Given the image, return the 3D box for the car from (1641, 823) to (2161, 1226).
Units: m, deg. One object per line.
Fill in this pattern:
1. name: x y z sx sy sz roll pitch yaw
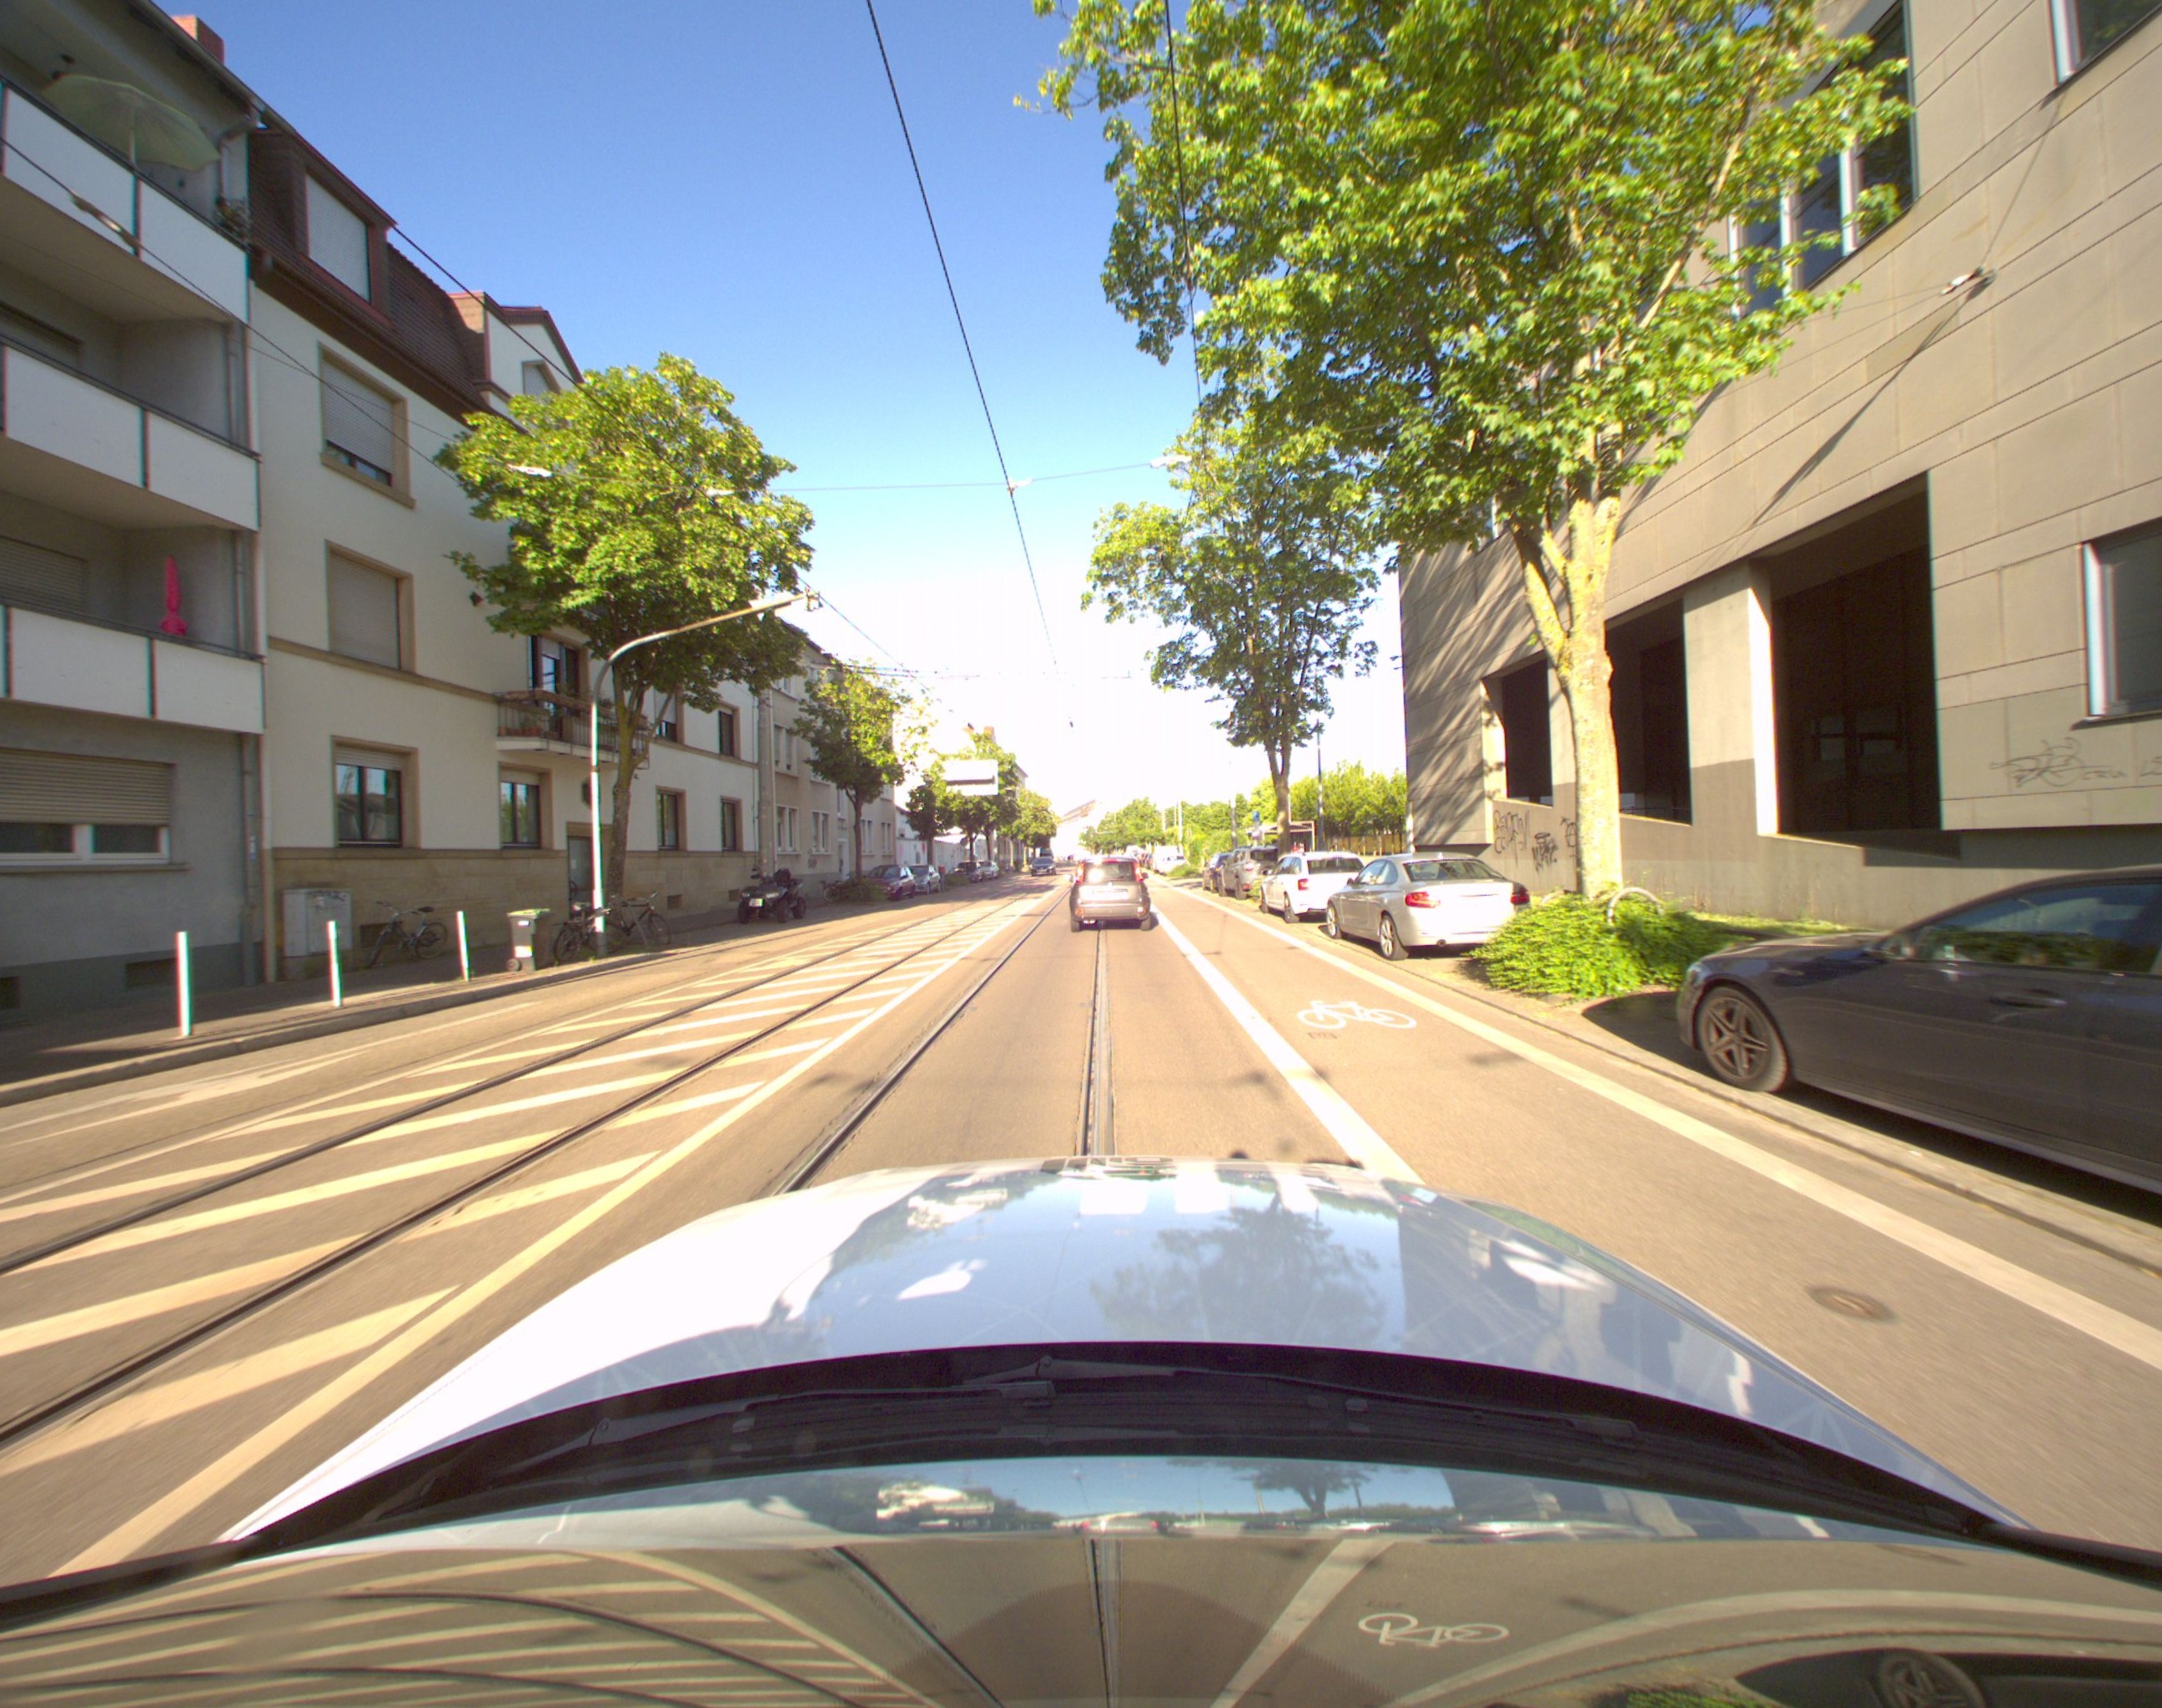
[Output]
1. car: 4.969 0.619 3.538 1.833 1.490 4.642 -3 0 0

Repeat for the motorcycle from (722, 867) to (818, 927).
1. motorcycle: -8.808 1.174 23.289 1.453 1.481 3.102 -3 0 0

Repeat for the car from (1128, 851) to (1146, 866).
1. car: 6.211 0.511 90.105 1.690 1.499 4.000 -3 0 0

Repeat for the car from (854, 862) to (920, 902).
1. car: -8.219 1.133 34.849 1.792 1.486 3.999 -3 0 0

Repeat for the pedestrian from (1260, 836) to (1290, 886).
1. pedestrian: 8.088 0.298 33.996 0.964 2.013 1.026 -3 0 2

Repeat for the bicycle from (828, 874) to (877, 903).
1. bicycle: -8.675 1.312 30.883 1.749 1.023 0.605 -1 -1 -19

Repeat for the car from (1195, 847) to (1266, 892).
1. car: 5.573 0.543 30.822 1.836 1.483 4.187 -3 0 0

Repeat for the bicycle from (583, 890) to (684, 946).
1. bicycle: -8.892 1.259 16.236 1.711 1.033 0.441 -1 -1 -20

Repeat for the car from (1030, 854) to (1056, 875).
1. car: -2.890 0.792 62.657 1.775 1.492 4.187 -2 0 0

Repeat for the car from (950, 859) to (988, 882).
1. car: -7.605 1.097 55.604 1.950 1.419 4.187 -3 0 0

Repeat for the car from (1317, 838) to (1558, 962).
1. car: 5.046 0.573 12.226 1.816 1.464 4.158 -2 0 1

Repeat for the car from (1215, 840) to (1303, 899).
1. car: 5.518 0.442 25.722 1.811 1.640 4.104 -3 0 0

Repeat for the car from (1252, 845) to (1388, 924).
1. car: 5.138 0.585 18.167 1.739 1.458 4.620 -3 0 2

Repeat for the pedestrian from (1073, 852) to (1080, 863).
1. pedestrian: -0.731 0.561 137.084 1.001 1.774 0.885 -2 0 -17

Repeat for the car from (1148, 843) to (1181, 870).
1. car: 6.283 0.202 61.594 1.950 1.905 4.187 -3 0 0

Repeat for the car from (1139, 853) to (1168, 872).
1. car: 5.964 0.647 67.308 1.950 1.419 4.187 -3 0 0

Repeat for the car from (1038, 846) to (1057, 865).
1. car: -4.841 0.215 117.659 2.325 2.569 5.673 -3 0 1

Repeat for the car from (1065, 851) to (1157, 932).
1. car: 0.634 0.739 17.680 1.725 1.500 4.001 -2 -1 2

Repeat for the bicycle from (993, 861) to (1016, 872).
1. bicycle: -7.422 1.204 78.645 2.236 0.930 0.796 -3 0 37

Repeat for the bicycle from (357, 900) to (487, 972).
1. bicycle: -11.242 1.363 13.992 0.504 1.007 2.020 -3 0 1

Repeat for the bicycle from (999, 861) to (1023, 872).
1. bicycle: -6.836 1.220 79.526 2.295 0.930 0.796 -3 0 37

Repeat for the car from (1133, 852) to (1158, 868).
1. car: 5.932 0.538 75.273 1.950 1.419 4.187 -3 0 0

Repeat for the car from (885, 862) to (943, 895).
1. car: -8.156 1.149 40.092 1.950 1.419 4.187 -3 0 0

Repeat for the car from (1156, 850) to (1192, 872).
1. car: 6.426 0.437 56.678 1.908 1.375 4.187 -3 0 0

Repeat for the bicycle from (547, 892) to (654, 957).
1. bicycle: -8.588 1.242 14.602 1.618 1.044 0.454 -1 -1 -31

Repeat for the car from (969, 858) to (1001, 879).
1. car: -7.392 1.093 62.915 1.950 1.419 4.187 -3 0 0

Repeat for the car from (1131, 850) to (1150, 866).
1. car: 6.088 0.382 83.684 1.690 1.547 4.000 -3 0 0
